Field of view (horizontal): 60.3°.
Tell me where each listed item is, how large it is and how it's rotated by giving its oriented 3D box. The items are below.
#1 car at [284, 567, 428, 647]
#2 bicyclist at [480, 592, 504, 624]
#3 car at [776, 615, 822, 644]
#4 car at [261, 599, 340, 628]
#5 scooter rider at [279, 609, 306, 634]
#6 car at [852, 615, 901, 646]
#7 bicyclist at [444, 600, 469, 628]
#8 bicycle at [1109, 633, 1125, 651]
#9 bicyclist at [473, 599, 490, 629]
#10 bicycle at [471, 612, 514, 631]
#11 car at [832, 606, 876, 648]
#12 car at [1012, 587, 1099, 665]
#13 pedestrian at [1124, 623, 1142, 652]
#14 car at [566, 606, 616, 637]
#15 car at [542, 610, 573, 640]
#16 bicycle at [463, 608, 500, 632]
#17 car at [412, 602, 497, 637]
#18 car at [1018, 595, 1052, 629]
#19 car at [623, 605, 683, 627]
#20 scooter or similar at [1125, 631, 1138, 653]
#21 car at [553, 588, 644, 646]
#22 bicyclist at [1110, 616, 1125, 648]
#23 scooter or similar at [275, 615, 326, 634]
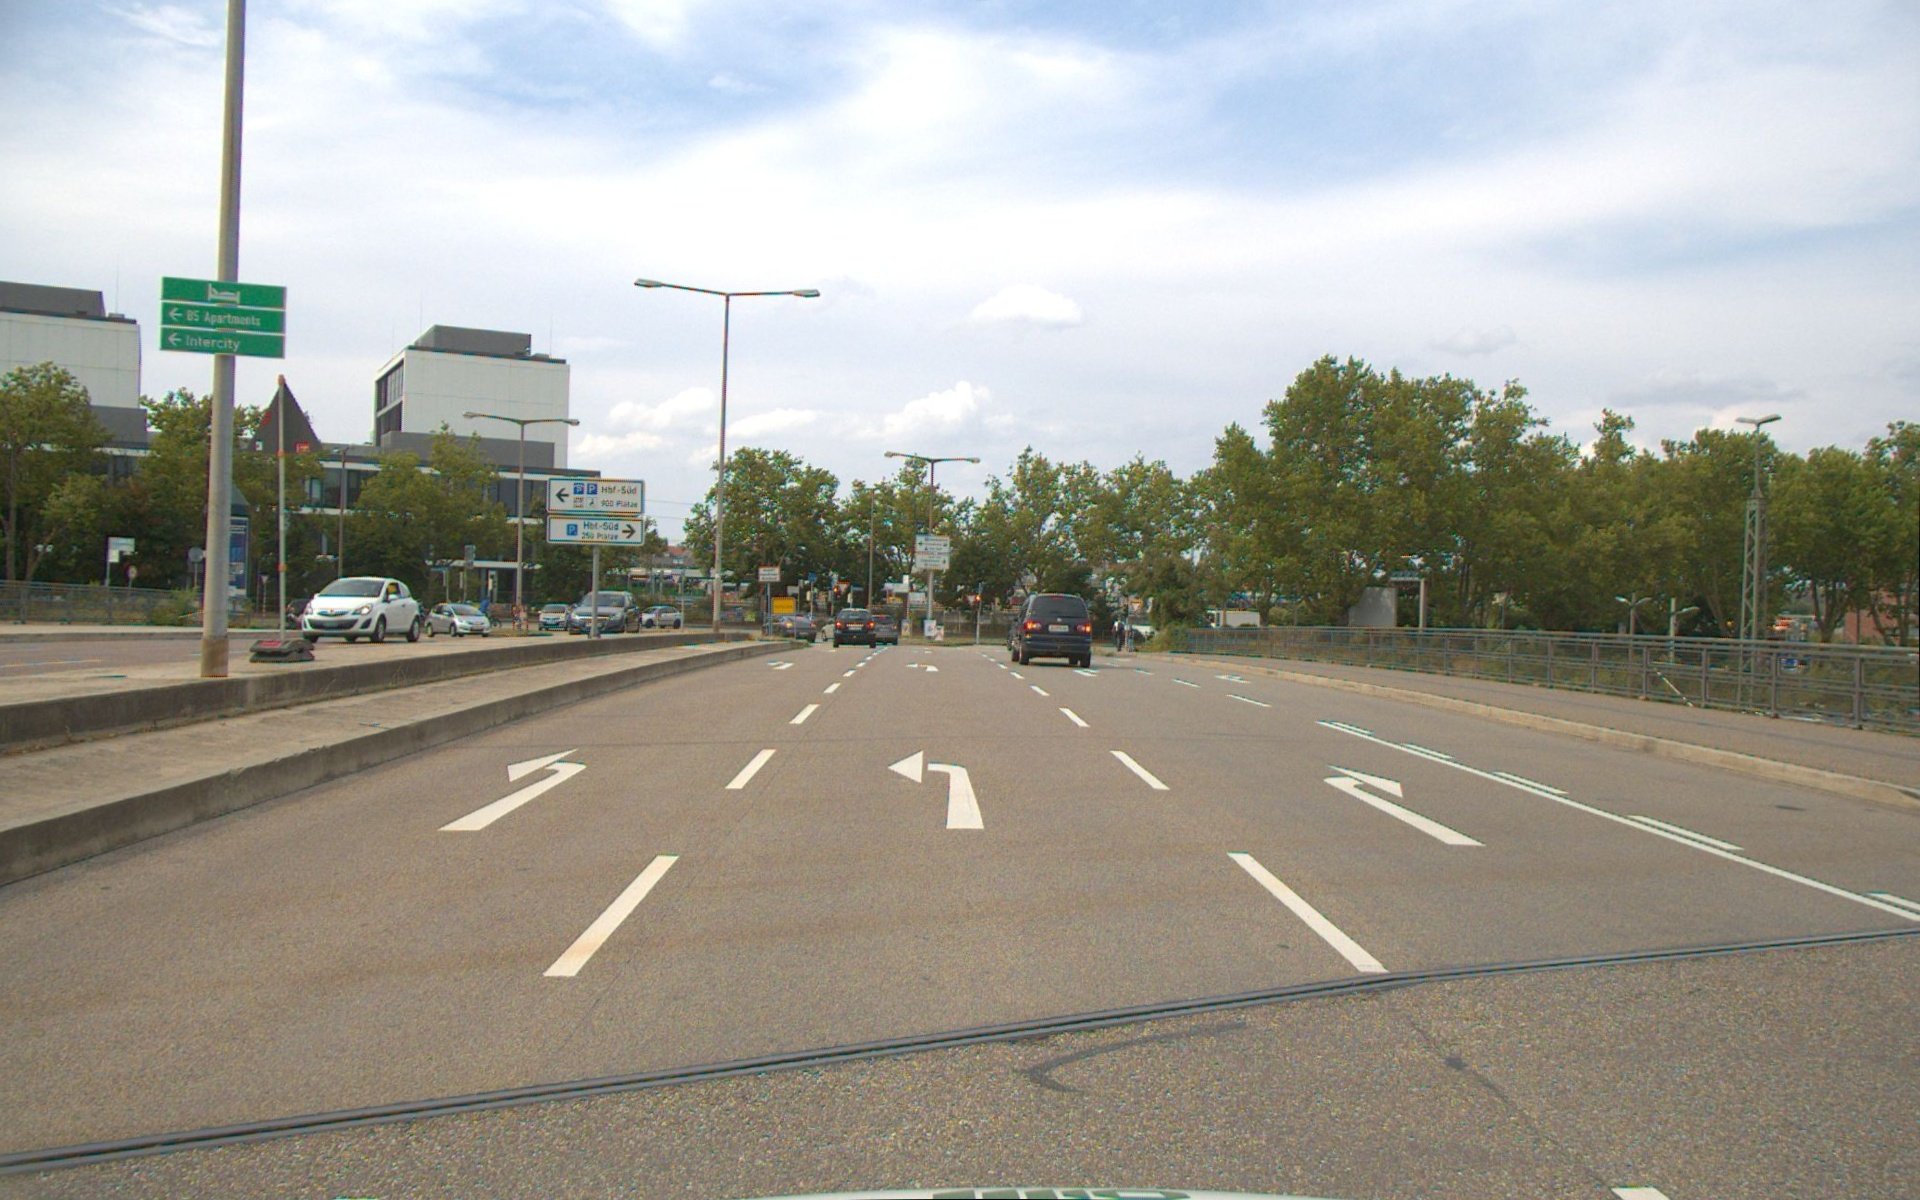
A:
[{"bbox_3d":[-13.703,0.172,37.778,1.849,1.668,4.216,2,0,-2],"label":"car"},{"bbox_3d":[-24.737,0.417,87.464,0.794,1.685,0.882,0,-1,31],"label":"bicyclist"},{"bbox_3d":[-8.694,1.572,88.835,1.787,1.439,4.759,2,-1,-14],"label":"car"},{"bbox_3d":[-38.598,0.803,96.789,3.962,1.557,1.659,2,-1,-40],"label":"car"},{"bbox_3d":[-32.509,1.044,80.541,0.791,1.157,0.915,1,-1,29],"label":"scooter rider"},{"bbox_3d":[-4.384,1.580,86.535,1.713,1.573,4.064,2,-1,-16],"label":"car"},{"bbox_3d":[-26.855,0.744,88.174,0.634,1.461,1.114,1,0,34],"label":"bicyclist"},{"bbox_3d":[8.507,2.259,89.508,0.792,0.969,2.236,1,-1,4],"label":"bicycle"},{"bbox_3d":[-26.111,0.740,90.231,0.768,1.609,0.651,2,-1,-21],"label":"bicyclist"},{"bbox_3d":[-24.715,1.119,87.479,0.794,0.969,2.230,0,-1,30],"label":"bicycle"},{"bbox_3d":[-4.405,1.087,68.378,1.722,1.603,4.033,2,0,-4],"label":"car"},{"bbox_3d":[2.324,0.667,41.121,1.715,1.755,4.135,3,-2,-2],"label":"car"},{"bbox_3d":[10.716,2.316,102.308,1.025,1.740,0.854,2,-1,9],"label":"pedestrian"},{"bbox_3d":[-17.480,1.007,78.134,1.889,1.440,4.856,0,0,-18],"label":"car"},{"bbox_3d":[-23.658,1.489,97.201,1.713,1.688,4.062,1,-2,-15],"label":"car"},{"bbox_3d":[-26.115,1.085,90.243,1.874,1.231,0.639,2,-1,-22],"label":"bicycle"},{"bbox_3d":[-23.171,0.877,75.722,1.908,1.553,4.808,1,-1,-41],"label":"car"},{"bbox_3d":[4.033,0.673,88.567,1.655,1.613,4.158,3,-2,4],"label":"car"},{"bbox_3d":[-20.561,1.077,110.842,1.592,1.435,3.837,-1,-2,41],"label":"car"},{"bbox_3d":[9.353,2.278,90.338,0.389,1.204,1.278,1,-2,-8],"label":"scooter or similar"},{"bbox_3d":[-11.092,0.513,51.097,1.849,1.668,4.583,2,0,-1],"label":"car"},{"bbox_3d":[8.510,1.736,89.437,0.793,1.726,1.116,1,-1,4],"label":"bicyclist"},{"bbox_3d":[-32.272,1.202,80.965,0.791,0.864,2.382,1,-1,29],"label":"scooter or similar"}]
